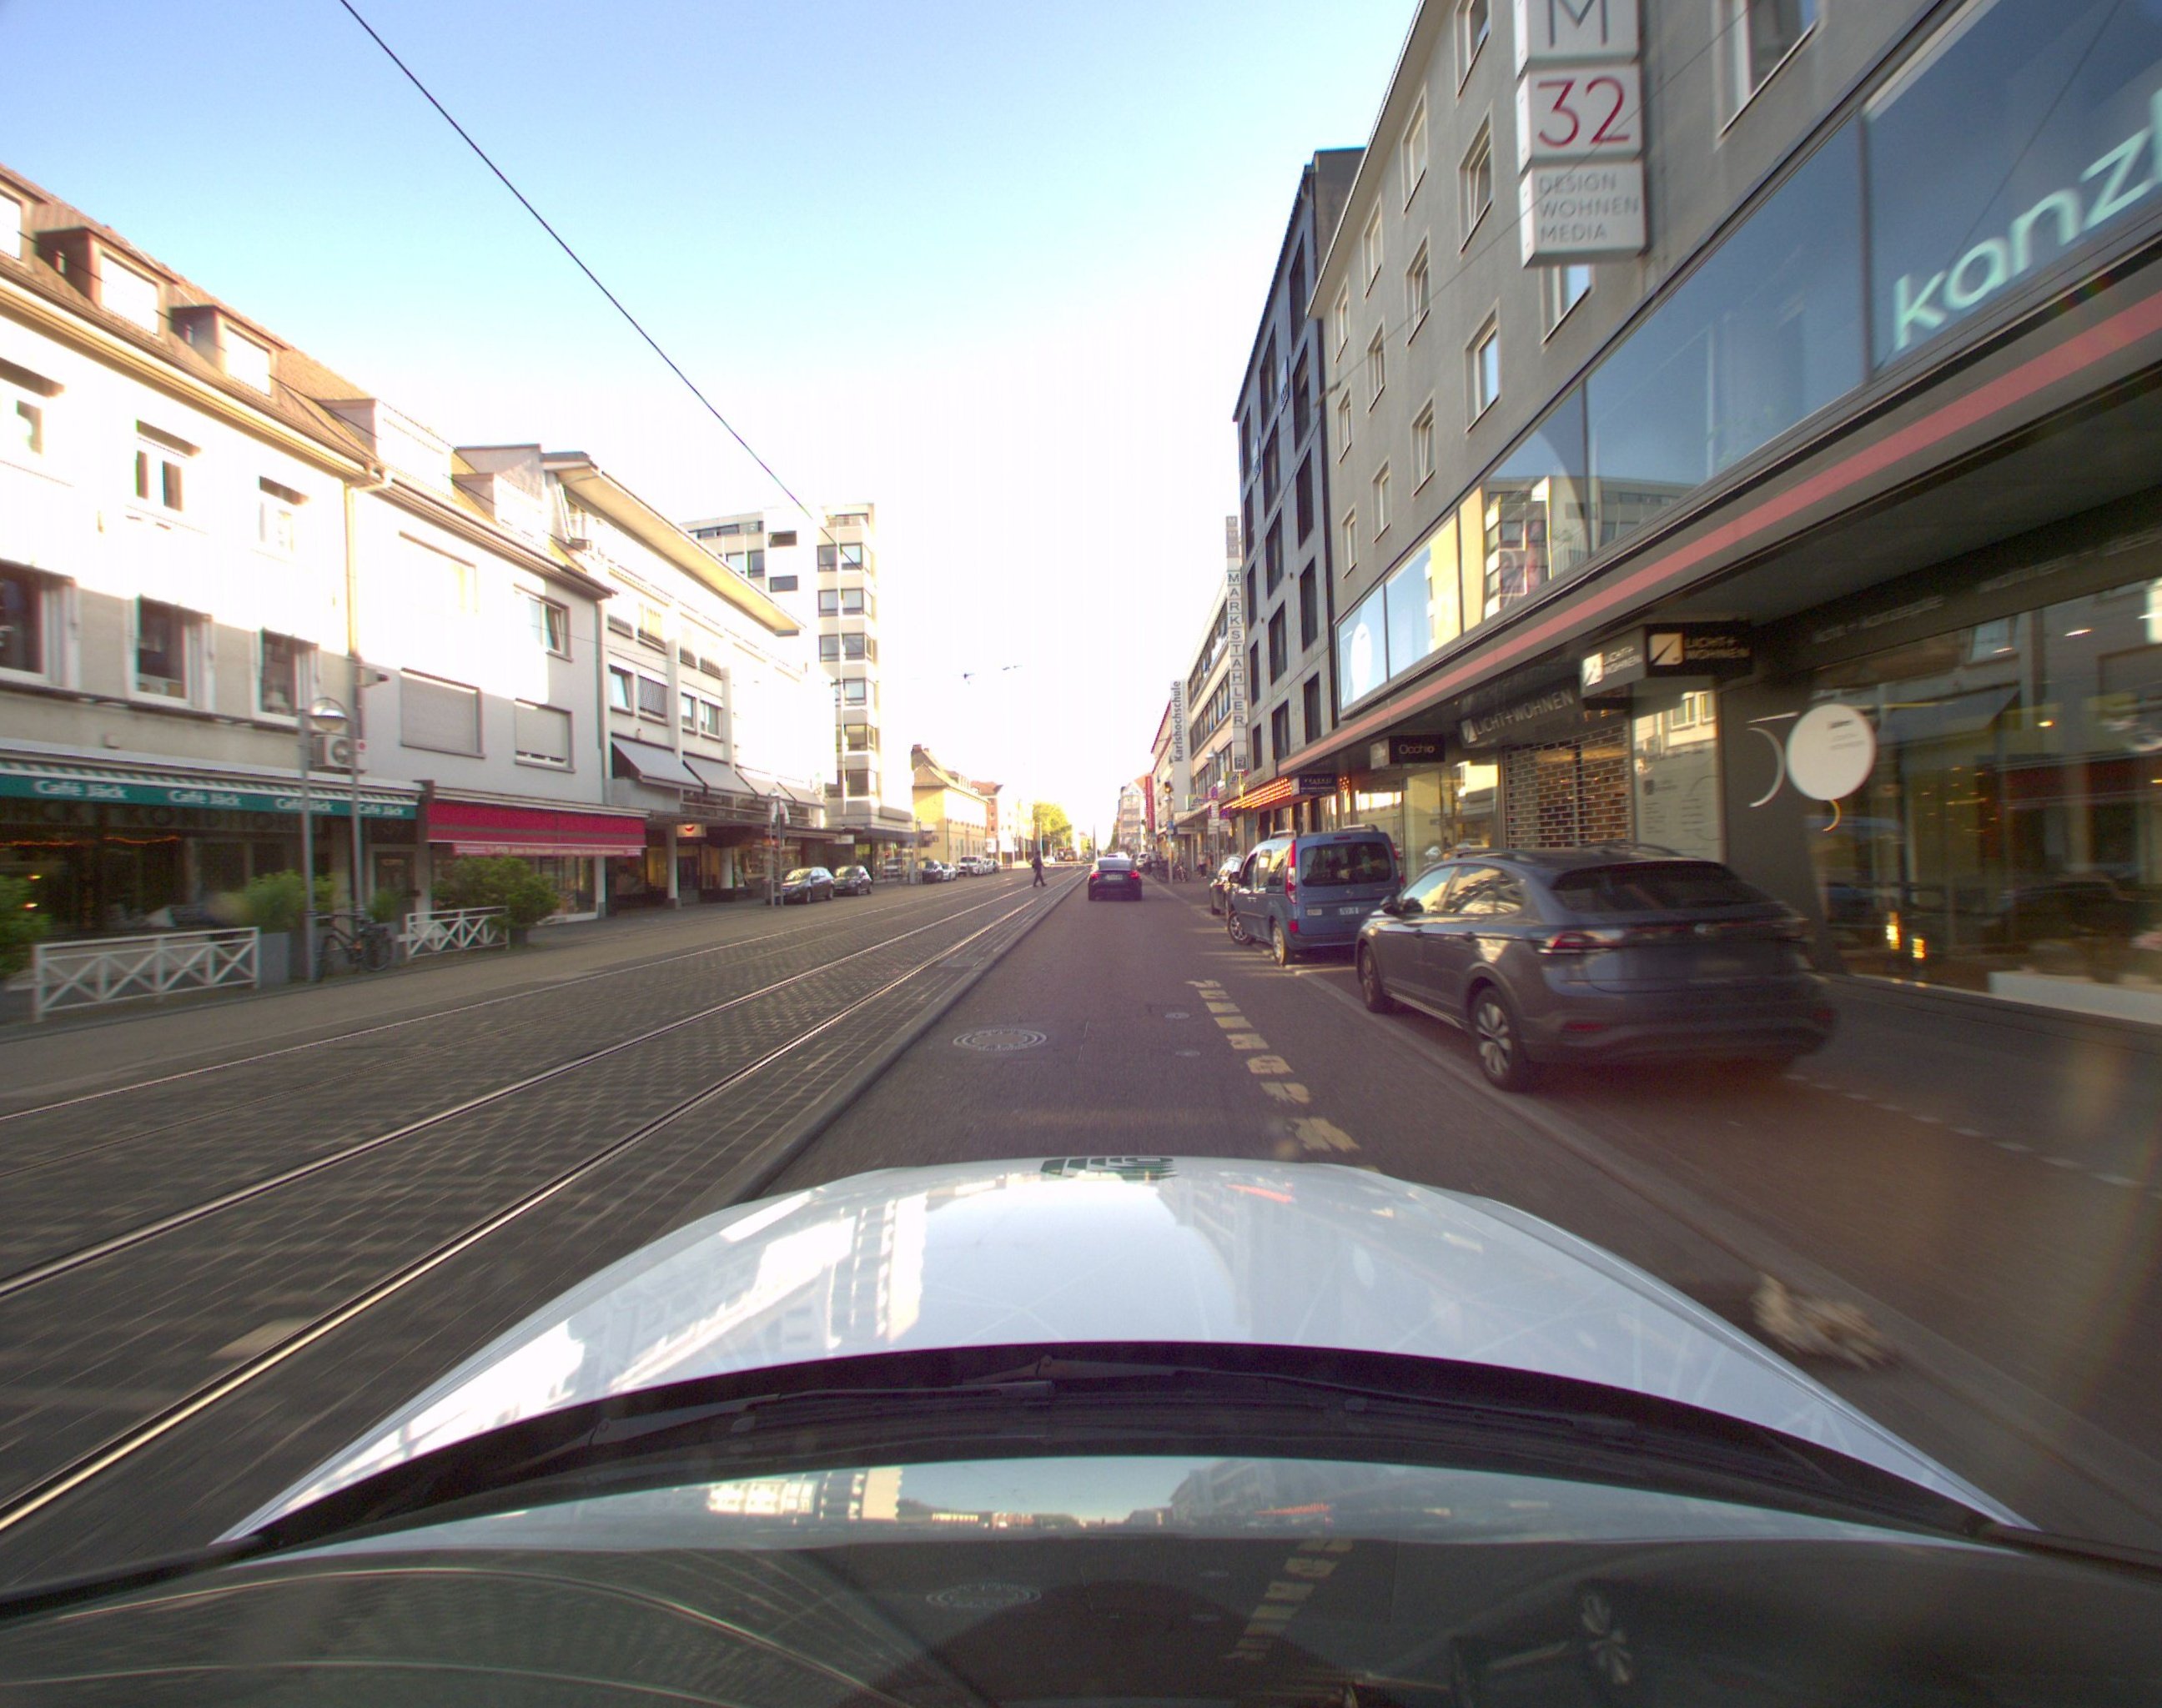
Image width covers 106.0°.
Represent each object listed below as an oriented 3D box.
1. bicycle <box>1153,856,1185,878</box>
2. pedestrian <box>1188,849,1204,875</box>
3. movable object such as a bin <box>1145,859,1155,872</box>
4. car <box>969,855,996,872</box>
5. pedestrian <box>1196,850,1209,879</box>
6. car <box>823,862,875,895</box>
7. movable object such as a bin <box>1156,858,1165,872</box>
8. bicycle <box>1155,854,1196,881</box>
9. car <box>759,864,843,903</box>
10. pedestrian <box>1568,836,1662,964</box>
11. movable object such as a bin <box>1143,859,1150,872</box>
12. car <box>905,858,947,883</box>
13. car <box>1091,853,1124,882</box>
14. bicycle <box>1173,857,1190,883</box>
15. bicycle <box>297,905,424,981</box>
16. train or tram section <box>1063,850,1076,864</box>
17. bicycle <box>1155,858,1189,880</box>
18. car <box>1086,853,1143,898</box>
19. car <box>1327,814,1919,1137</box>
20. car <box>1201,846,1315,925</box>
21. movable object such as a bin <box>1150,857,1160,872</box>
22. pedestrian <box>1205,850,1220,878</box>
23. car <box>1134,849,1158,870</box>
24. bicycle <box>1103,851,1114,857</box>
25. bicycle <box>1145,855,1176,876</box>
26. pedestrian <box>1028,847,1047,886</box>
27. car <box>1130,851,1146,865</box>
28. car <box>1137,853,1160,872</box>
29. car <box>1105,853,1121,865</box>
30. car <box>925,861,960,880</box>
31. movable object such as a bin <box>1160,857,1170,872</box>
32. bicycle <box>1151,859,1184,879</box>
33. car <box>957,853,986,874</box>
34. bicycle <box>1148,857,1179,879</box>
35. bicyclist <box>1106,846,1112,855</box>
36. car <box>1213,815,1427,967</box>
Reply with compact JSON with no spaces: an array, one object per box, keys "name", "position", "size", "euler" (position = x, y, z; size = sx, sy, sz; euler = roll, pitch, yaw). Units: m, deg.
[{"name":"bicycle","position":[5.159,0.774,47.835],"size":[1.781,1.217,0.587],"euler":[-3,0,1]},{"name":"pedestrian","position":[6.635,0.466,47.145],"size":[0.585,1.486,0.591],"euler":[-4,-1,-29]},{"name":"movable object such as a bin","position":[5.291,0.881,62.484],"size":[0.683,1.014,0.509],"euler":[-3,-1,4]},{"name":"car","position":[-10.070,0.988,83.687],"size":[1.799,1.685,4.654],"euler":[0,0,4]},{"name":"pedestrian","position":[6.819,0.591,45.724],"size":[0.579,1.585,0.598],"euler":[-4,-1,0]},{"name":"car","position":[-11.505,1.197,40.608],"size":[1.596,1.523,3.588],"euler":[0,0,-1]},{"name":"movable object such as a bin","position":[6.065,0.833,62.425],"size":[0.655,1.014,0.637],"euler":[-3,-1,4]},{"name":"bicycle","position":[5.037,0.735,43.424],"size":[2.035,1.274,0.523],"euler":[-5,0,-8]},{"name":"car","position":[-11.924,1.221,35.055],"size":[1.730,1.523,4.855],"euler":[0,0,3]},{"name":"pedestrian","position":[6.381,0.532,9.767],"size":[0.573,1.439,0.731],"euler":[-4,-1,1]},{"name":"movable object such as a bin","position":[4.945,0.906,61.802],"size":[0.485,0.958,0.458],"euler":[-3,-1,5]},{"name":"car","position":[-11.050,1.150,58.354],"size":[1.971,1.678,4.658],"euler":[0,0,2]},{"name":"car","position":[1.432,0.671,42.482],"size":[1.647,1.418,4.003],"euler":[0,1,3]},{"name":"bicycle","position":[5.188,0.804,42.133],"size":[0.579,1.257,1.602],"euler":[-4,0,0]},{"name":"bicycle","position":[-11.870,1.431,13.486],"size":[0.516,1.090,1.717],"euler":[0,0,2]},{"name":"train or tram section","position":[-3.050,0.831,222.258],"size":[2.663,3.715,14.201],"euler":[0,0,3]},{"name":"bicycle","position":[4.947,0.811,44.218],"size":[1.770,1.130,0.478],"euler":[-3,0,-4]},{"name":"car","position":[1.135,0.725,28.696],"size":[1.842,1.484,3.787],"euler":[0,0,1]},{"name":"car","position":[3.471,0.645,6.389],"size":[1.757,1.577,4.288],"euler":[-4,0,1]},{"name":"car","position":[3.926,0.654,18.769],"size":[1.715,1.484,4.418],"euler":[-4,0,2]},{"name":"movable object such as a bin","position":[5.608,0.807,61.817],"size":[0.687,1.089,0.686],"euler":[-3,-1,5]},{"name":"pedestrian","position":[7.037,0.537,43.551],"size":[0.581,1.493,0.524],"euler":[-4,-1,-7]},{"name":"car","position":[5.873,0.475,73.831],"size":[1.843,1.724,5.194],"euler":[-4,0,1]},{"name":"bicycle","position":[4.368,0.013,130.457],"size":[1.726,1.088,0.677],"euler":[0,-1,-6]},{"name":"bicycle","position":[4.863,0.701,49.905],"size":[1.781,1.159,0.669],"euler":[-3,0,1]},{"name":"pedestrian","position":[-2.126,0.609,39.915],"size":[0.801,1.837,0.746],"euler":[-3,-1,0]},{"name":"car","position":[7.113,0.448,101.642],"size":[1.738,1.632,3.651],"euler":[-3,0,2]},{"name":"car","position":[5.687,0.696,68.975],"size":[1.608,1.528,4.071],"euler":[-3,0,1]},{"name":"car","position":[4.217,0.677,107.443],"size":[1.778,1.519,4.216],"euler":[0,0,-1]},{"name":"car","position":[-10.862,1.249,64.227],"size":[1.882,1.421,4.656],"euler":[0,0,1]},{"name":"movable object such as a bin","position":[6.363,0.797,61.653],"size":[0.687,1.089,0.667],"euler":[-3,-1,5]},{"name":"bicycle","position":[4.927,0.871,46.406],"size":[1.767,1.032,0.597],"euler":[-3,0,1]},{"name":"car","position":[-10.363,0.904,77.392],"size":[1.986,1.975,5.098],"euler":[0,0,1]},{"name":"bicycle","position":[4.954,0.828,48.836],"size":[1.781,1.217,0.669],"euler":[-3,0,1]},{"name":"bicyclist","position":[4.471,-0.566,130.452],"size":[0.835,1.500,0.559],"euler":[0,-1,-6]},{"name":"car","position":[3.419,0.484,12.644],"size":[1.811,1.860,4.547],"euler":[-3,0,-2]}]
